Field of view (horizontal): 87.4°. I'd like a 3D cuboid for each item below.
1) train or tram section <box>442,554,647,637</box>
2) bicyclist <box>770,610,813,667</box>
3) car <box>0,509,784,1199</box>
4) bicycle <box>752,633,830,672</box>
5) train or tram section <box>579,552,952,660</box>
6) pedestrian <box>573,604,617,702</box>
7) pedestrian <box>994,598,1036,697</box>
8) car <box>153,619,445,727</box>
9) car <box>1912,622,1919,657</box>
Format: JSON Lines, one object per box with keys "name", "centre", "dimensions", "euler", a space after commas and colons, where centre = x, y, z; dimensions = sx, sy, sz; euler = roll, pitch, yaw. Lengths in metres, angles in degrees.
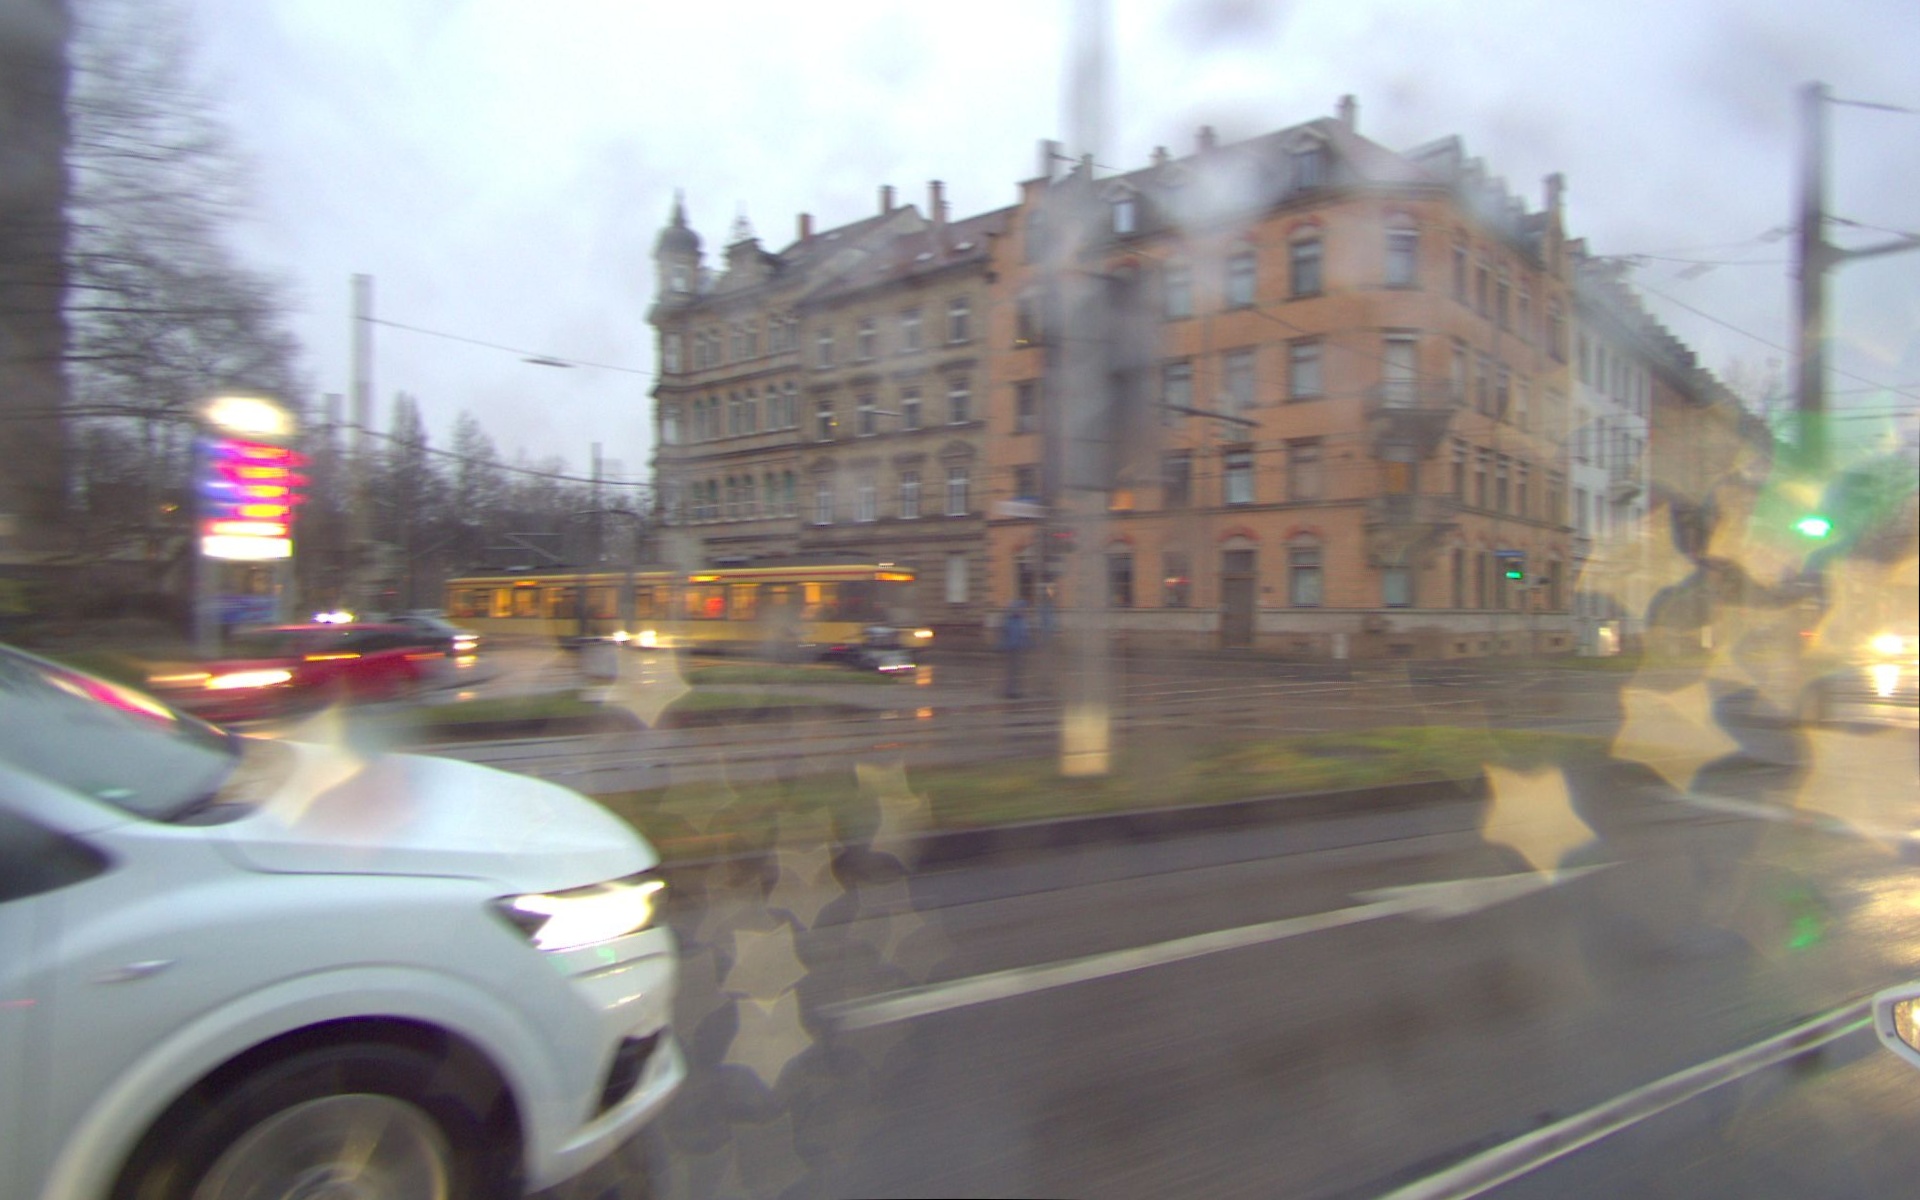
{"name": "train or tram section", "centre": [-18.466, -0.251, 44.155], "dimensions": [10.971, 3.280, 3.158], "euler": [1, 0, 37]}
{"name": "bicyclist", "centre": [-4.281, 0.977, 25.489], "dimensions": [0.950, 1.409, 0.506], "euler": [1, 0, 18]}
{"name": "car", "centre": [-2.505, 0.614, 2.002], "dimensions": [3.954, 1.507, 1.618], "euler": [0, -1, -31]}
{"name": "bicycle", "centre": [-4.288, 1.321, 25.493], "dimensions": [1.945, 0.912, 0.506], "euler": [1, 0, 18]}
{"name": "train or tram section", "centre": [-7.651, 0.046, 36.079], "dimensions": [16.045, 3.231, 3.158], "euler": [1, 0, 37]}
{"name": "pedestrian", "centre": [-6.984, 0.996, 19.215], "dimensions": [0.617, 1.816, 0.531], "euler": [1, 1, 33]}
{"name": "pedestrian", "centre": [1.017, 0.875, 18.547], "dimensions": [0.620, 1.795, 0.466], "euler": [1, 0, -24]}
{"name": "car", "centre": [-10.312, 1.053, 16.050], "dimensions": [1.616, 1.469, 3.853], "euler": [1, -1, 12]}
{"name": "car", "centre": [40.861, 1.646, 41.740], "dimensions": [3.588, 1.410, 1.664], "euler": [1, -1, -43]}
